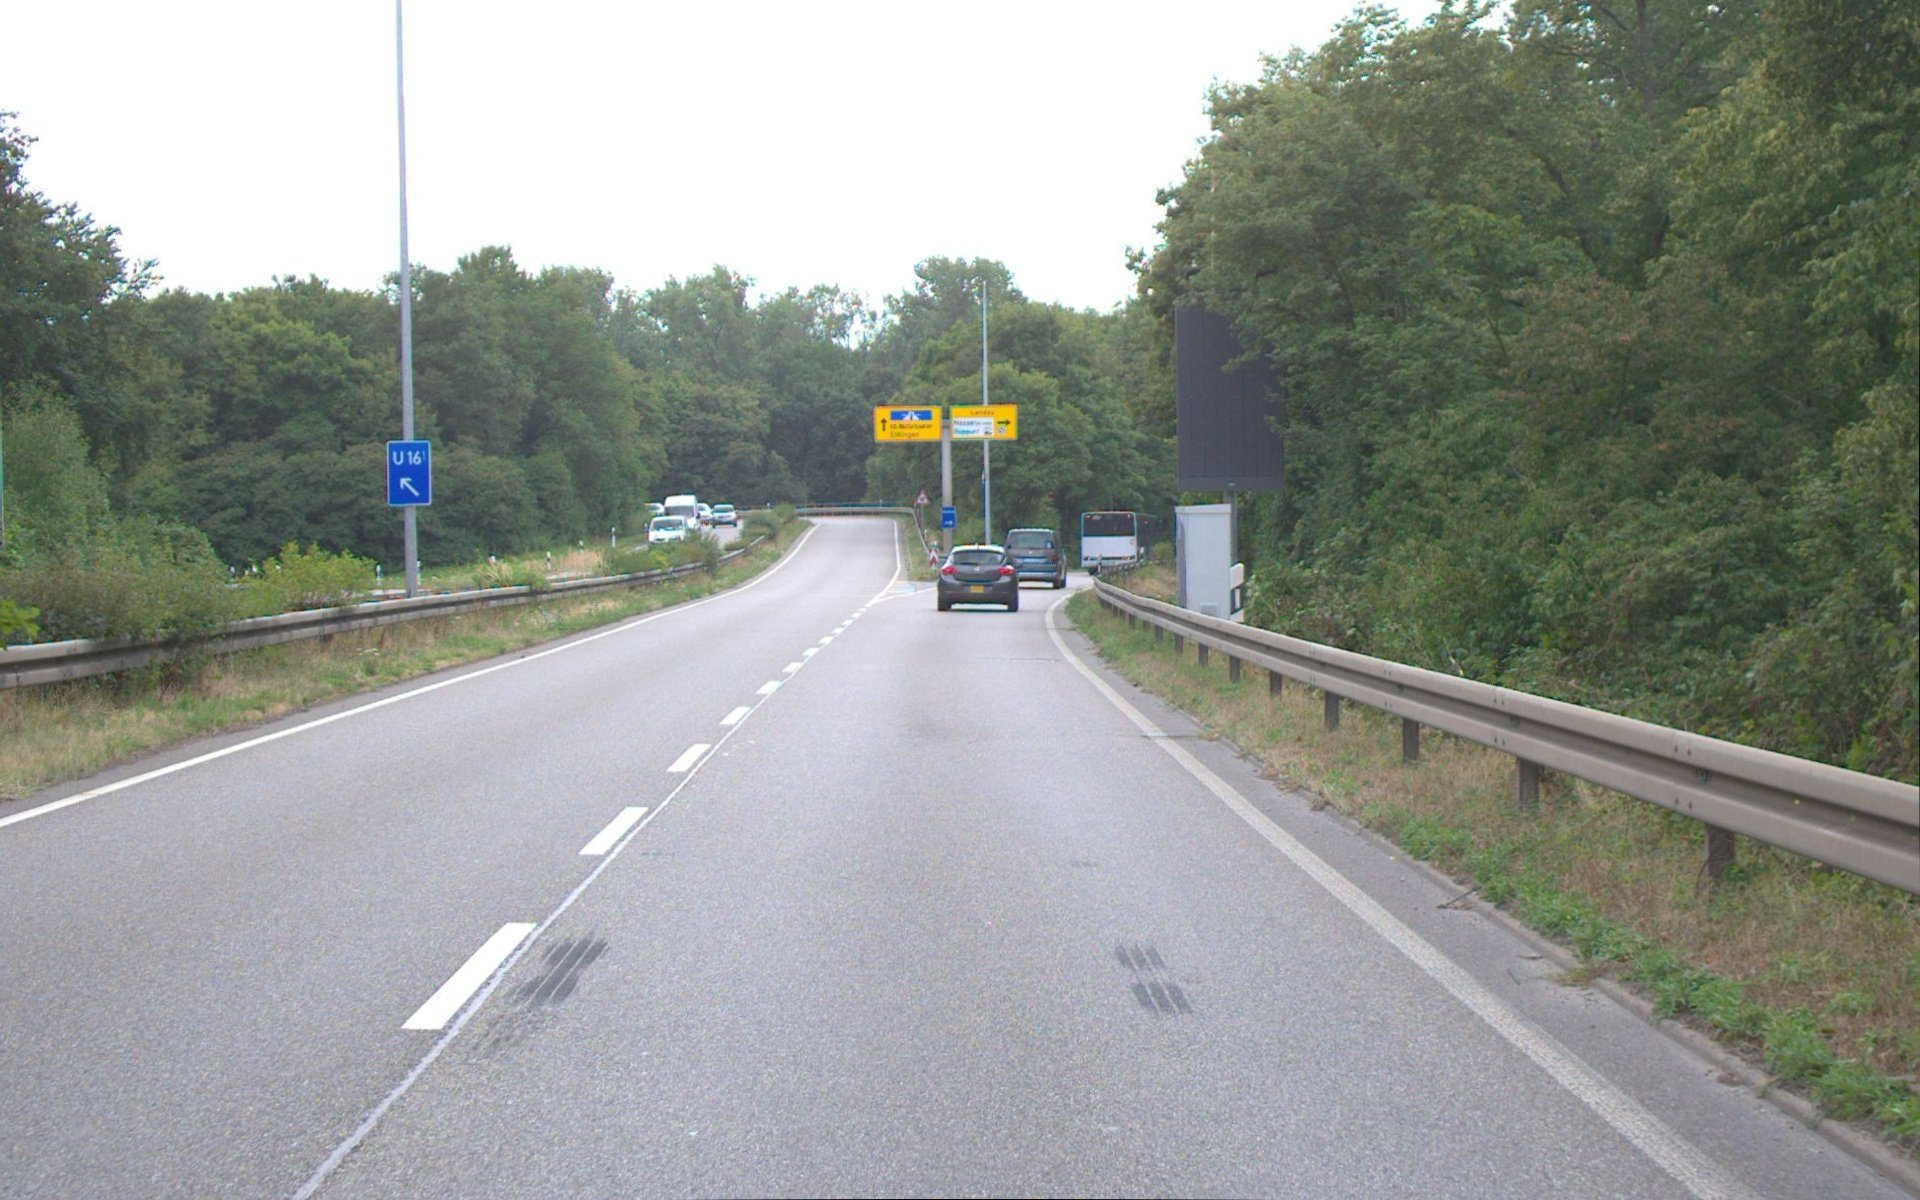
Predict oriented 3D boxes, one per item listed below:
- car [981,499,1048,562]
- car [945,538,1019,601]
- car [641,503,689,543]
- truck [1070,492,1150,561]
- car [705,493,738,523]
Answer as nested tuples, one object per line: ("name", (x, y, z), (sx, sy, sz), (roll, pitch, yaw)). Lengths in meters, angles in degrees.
("car", (1.782, -2.274, 113.920), (2.148, 2.007, 4.000), (0, 0, 0))
("car", (0.490, -0.666, 77.383), (1.625, 1.373, 4.000), (0, 0, 0))
("car", (-14.387, -3.783, 167.898), (1.993, 1.840, 4.001), (0, 2, 0))
("truck", (6.674, -3.215, 152.008), (2.981, 2.875, 7.989), (0, 0, 6))
("car", (-16.291, -6.281, 234.862), (1.993, 2.006, 4.000), (0, 2, 0))
